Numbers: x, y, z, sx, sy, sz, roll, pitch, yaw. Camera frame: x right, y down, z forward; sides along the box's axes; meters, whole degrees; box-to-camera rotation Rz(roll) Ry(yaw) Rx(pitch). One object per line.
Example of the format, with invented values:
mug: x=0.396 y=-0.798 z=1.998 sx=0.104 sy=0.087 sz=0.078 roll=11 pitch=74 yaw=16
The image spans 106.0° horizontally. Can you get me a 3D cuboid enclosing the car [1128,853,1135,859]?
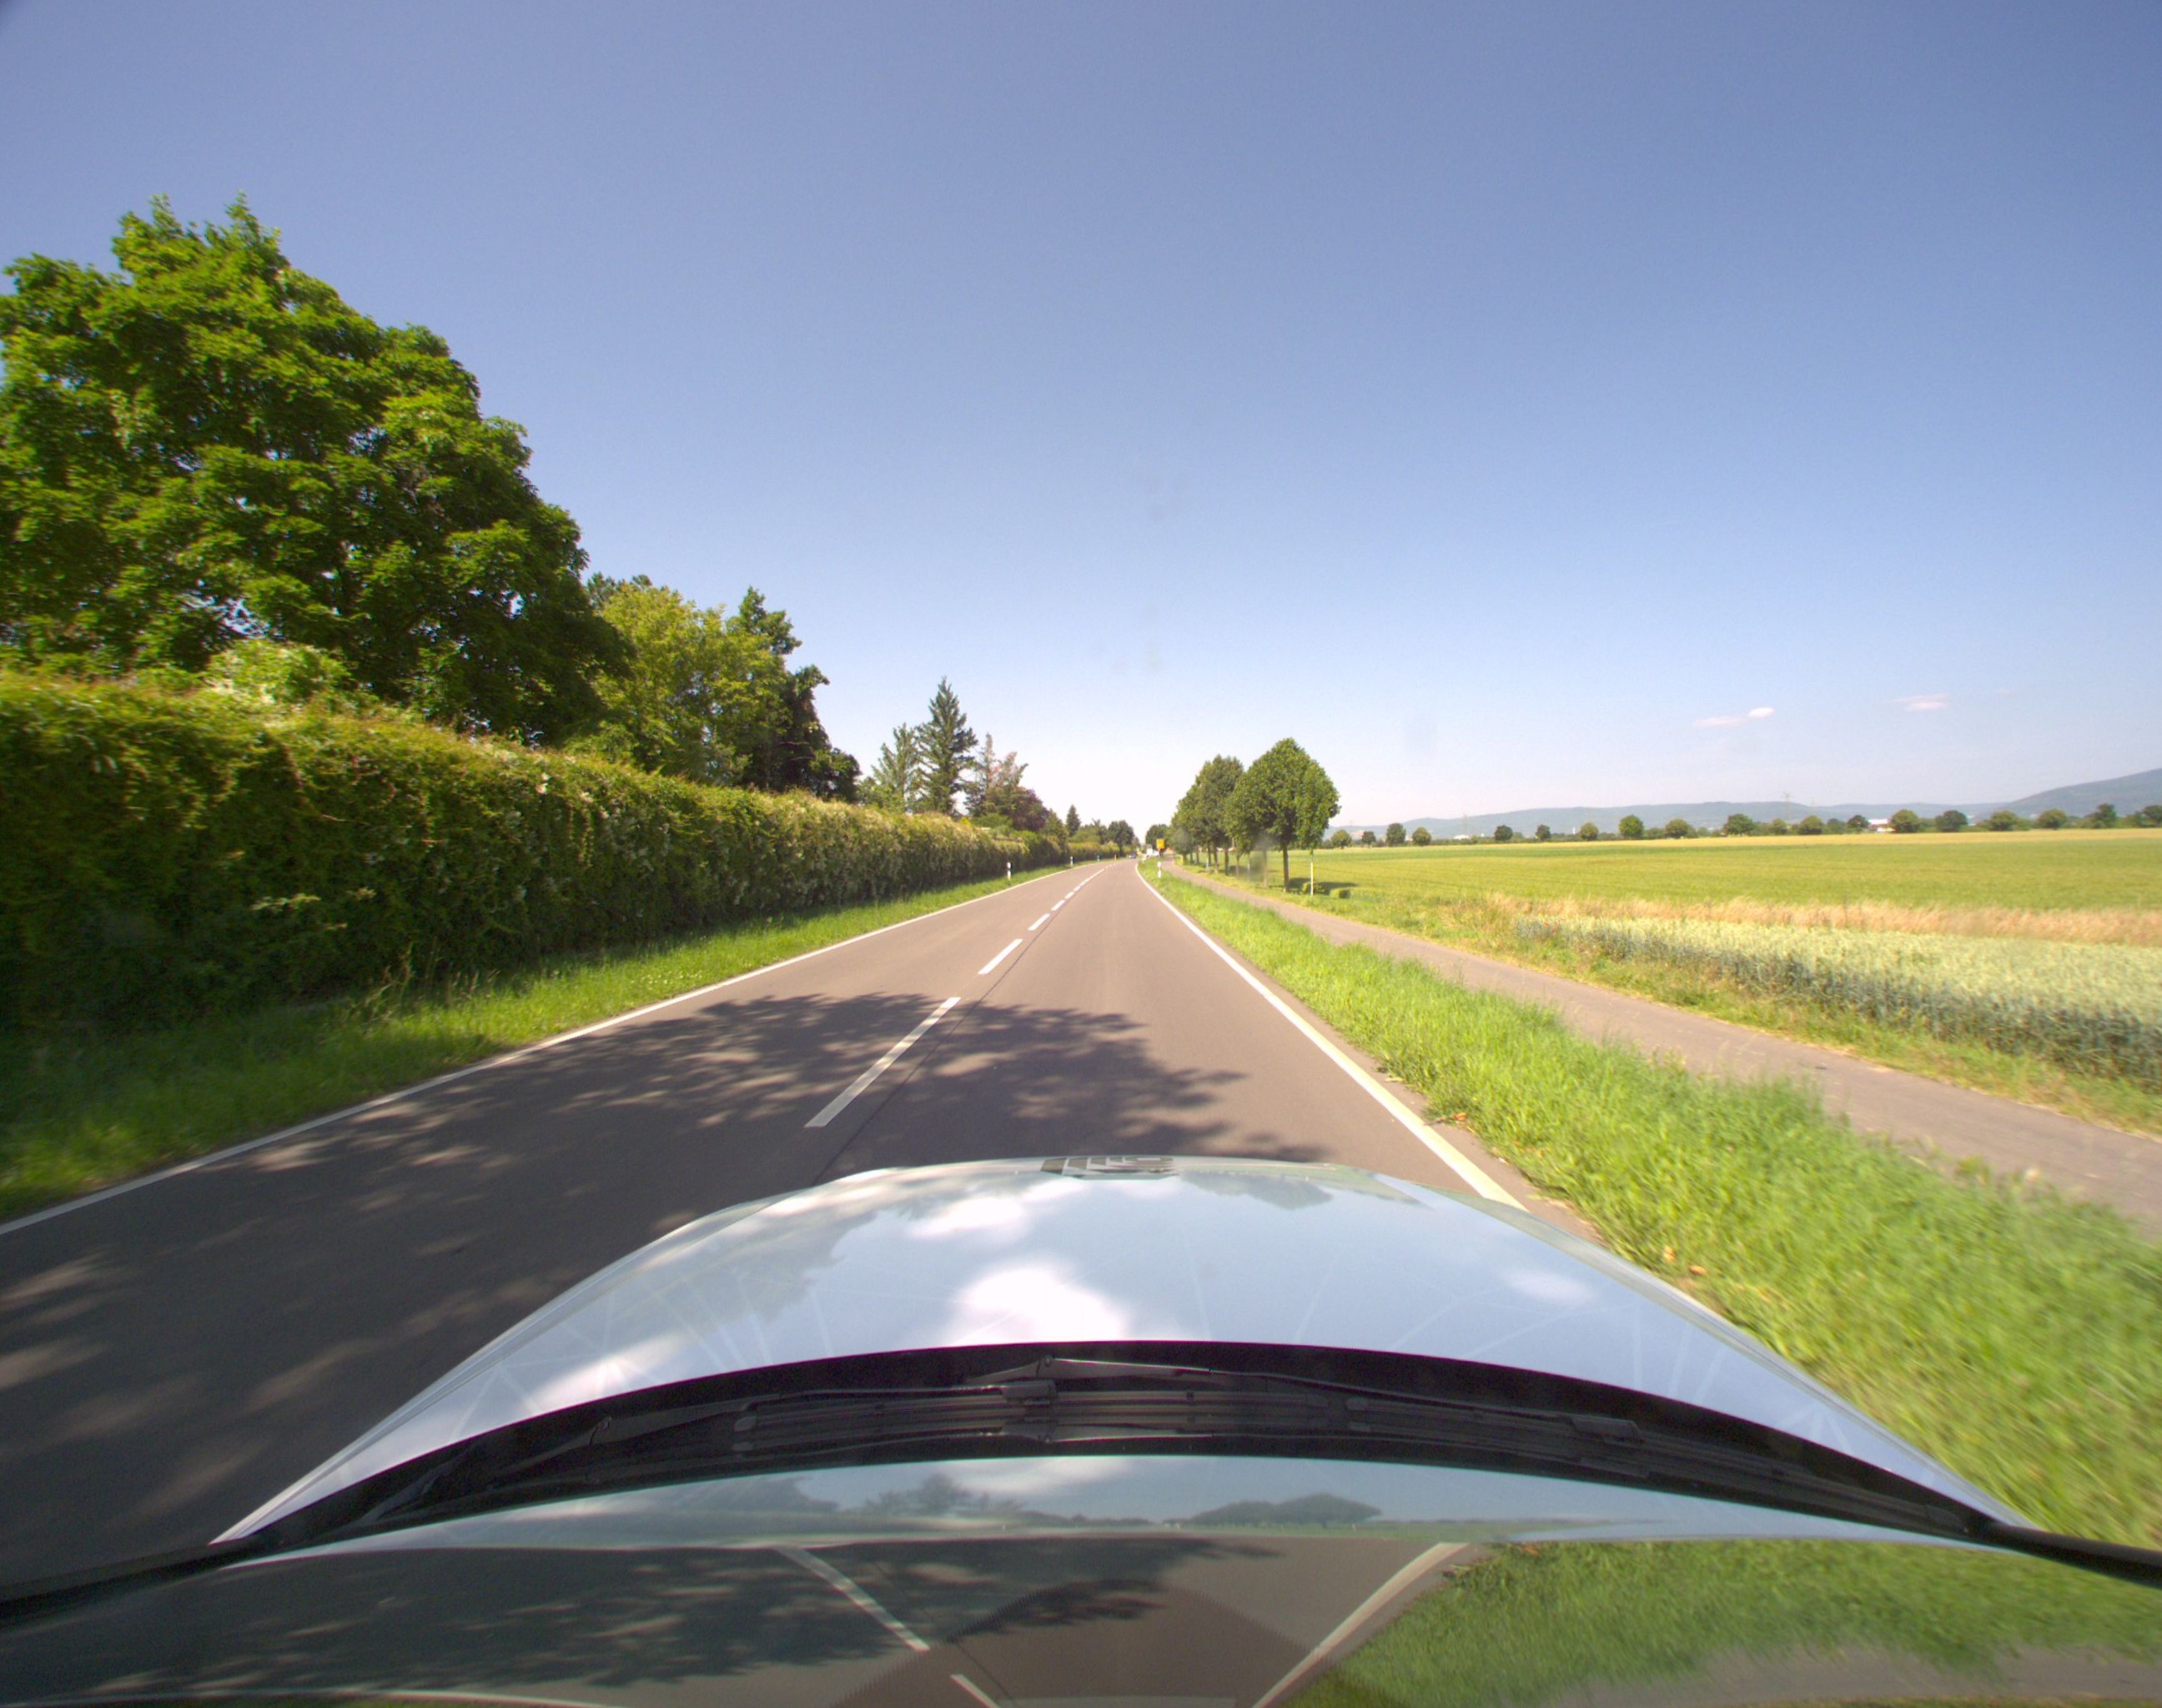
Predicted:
car: x=13.888 y=0.466 z=222.970 sx=1.832 sy=1.467 sz=3.936 roll=-1 pitch=0 yaw=3
